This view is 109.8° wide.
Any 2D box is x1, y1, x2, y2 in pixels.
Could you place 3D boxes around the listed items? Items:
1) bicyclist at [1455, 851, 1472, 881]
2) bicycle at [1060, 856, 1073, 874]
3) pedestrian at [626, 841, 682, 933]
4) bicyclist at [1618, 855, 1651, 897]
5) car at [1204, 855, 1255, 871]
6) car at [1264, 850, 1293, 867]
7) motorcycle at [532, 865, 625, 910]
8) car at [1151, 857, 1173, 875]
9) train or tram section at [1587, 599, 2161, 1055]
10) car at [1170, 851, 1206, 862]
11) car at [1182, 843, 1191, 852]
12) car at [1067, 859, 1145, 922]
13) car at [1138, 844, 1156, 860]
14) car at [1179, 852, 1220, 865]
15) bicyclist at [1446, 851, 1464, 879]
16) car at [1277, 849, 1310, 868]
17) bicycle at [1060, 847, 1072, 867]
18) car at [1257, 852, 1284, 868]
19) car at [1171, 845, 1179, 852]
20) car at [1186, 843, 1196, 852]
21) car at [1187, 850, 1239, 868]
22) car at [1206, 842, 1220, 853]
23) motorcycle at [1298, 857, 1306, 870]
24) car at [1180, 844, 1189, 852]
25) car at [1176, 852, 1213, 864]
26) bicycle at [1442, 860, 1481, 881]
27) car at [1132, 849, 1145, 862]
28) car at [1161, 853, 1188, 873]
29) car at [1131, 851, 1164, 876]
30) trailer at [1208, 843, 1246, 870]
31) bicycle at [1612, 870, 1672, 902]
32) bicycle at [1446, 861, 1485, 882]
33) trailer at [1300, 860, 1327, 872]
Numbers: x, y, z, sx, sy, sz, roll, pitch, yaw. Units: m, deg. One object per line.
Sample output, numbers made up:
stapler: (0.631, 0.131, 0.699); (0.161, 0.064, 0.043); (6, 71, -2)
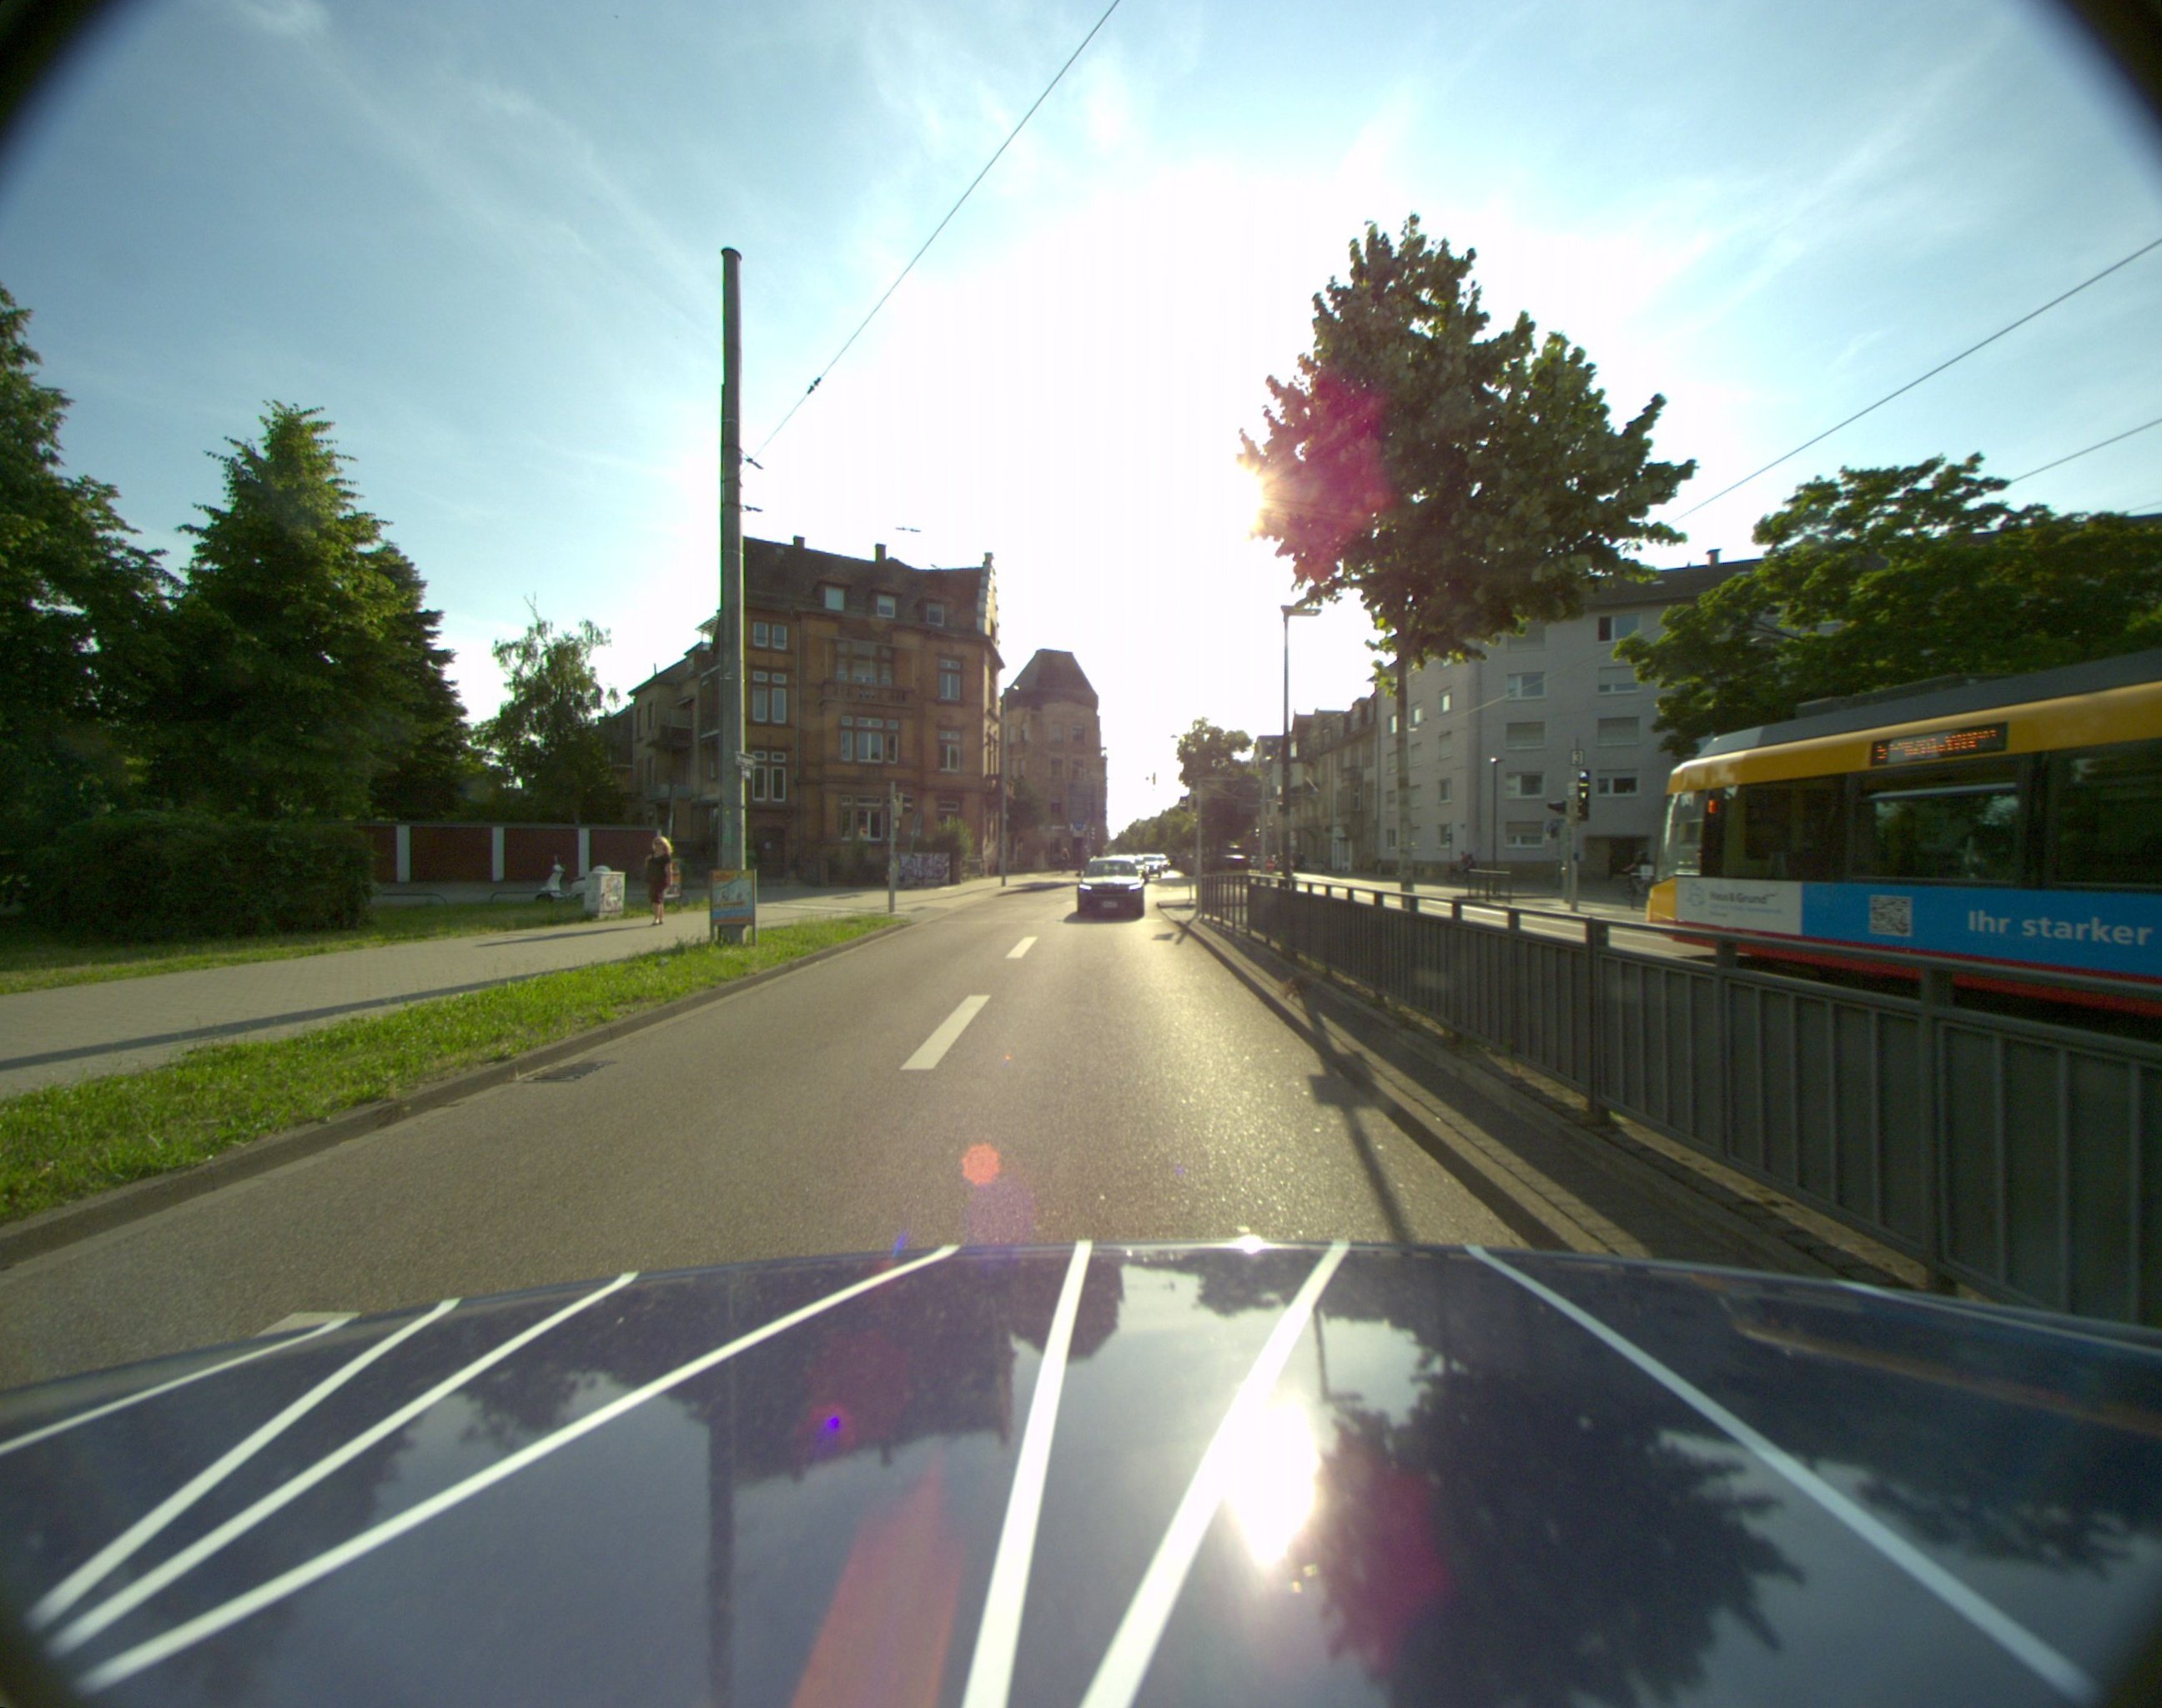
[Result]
bicyclist: (21.635, 0.672, 42.956); (0.771, 1.633, 0.796); (1, 1, 23)
bicycle: (-0.990, 0.711, 51.446); (0.485, 1.183, 1.337); (-1, 0, -16)
pedestrian: (-8.206, 0.624, 14.617); (0.616, 1.682, 0.549); (5, 1, 6)
bicyclist: (19.106, 0.745, 26.239); (0.652, 1.405, 0.717); (-1, 0, 5)
car: (12.588, 0.747, 64.415); (3.941, 1.352, 1.676); (1, 1, 37)
car: (20.731, 0.454, 79.776); (2.170, 1.739, 4.612); (-1, 0, 4)
motorcycle: (-13.603, 0.900, 20.596); (2.002, 1.153, 0.708); (-1, 0, -4)
car: (8.503, 1.246, 80.285); (1.998, 1.772, 4.000); (0, 0, 1)
train or tram section: (9.782, -0.223, 5.148); (3.169, 3.459, 14.532); (-1, 0, 1)
car: (14.042, 0.355, 99.911); (4.259, 1.414, 2.177); (-1, 0, 43)
car: (25.301, -1.481, 181.916); (1.998, 2.002, 4.002); (-1, 0, 5)
car: (0.730, 0.884, 20.076); (1.839, 1.472, 4.001); (0, 0, 4)
car: (8.400, -0.298, 97.137); (1.998, 2.002, 4.000); (0, 0, 2)
car: (13.341, 0.481, 85.677); (4.294, 1.414, 1.963); (-1, 0, 43)
bicyclist: (21.736, 0.629, 44.149); (0.851, 1.633, 0.815); (-1, 0, 22)
car: (20.441, 0.452, 73.339); (2.170, 1.739, 4.719); (-1, 0, 4)
bicycle: (-1.013, 0.197, 51.479); (0.575, 1.290, 0.687); (-1, 0, -18)
car: (21.074, 0.679, 84.824); (2.170, 1.739, 4.612); (-1, 0, 4)
car: (26.756, -1.630, 216.114); (1.998, 2.002, 4.000); (-1, 0, 1)
car: (24.723, -1.429, 170.707); (1.998, 2.002, 4.002); (-1, 0, 5)
car: (13.102, 0.461, 75.691); (4.704, 1.680, 2.177); (0, 0, 44)
car: (24.213, -1.117, 139.663); (1.998, 2.002, 4.001); (-1, 0, 2)
motorcycle: (20.113, 0.859, 69.138); (0.636, 1.074, 1.735); (-1, 0, 13)
car: (26.459, -1.447, 194.380); (1.998, 2.002, 4.000); (-1, 0, 1)
car: (13.873, 0.458, 92.640); (4.259, 1.414, 1.685); (-1, 0, 43)
bicycle: (22.065, 0.960, 44.064); (1.976, 1.196, 0.736); (-1, 0, 23)
car: (9.177, 0.179, 121.769); (1.998, 2.002, 4.000); (0, 1, 2)
car: (7.411, 0.690, 60.207); (1.997, 1.565, 4.002); (-1, 0, 7)
car: (4.417, 0.582, 49.965); (1.997, 1.565, 4.002); (-1, 0, 7)
trailer: (12.988, 0.238, 67.716); (2.858, 2.378, 1.726); (-1, 0, 34)
bicycle: (19.158, 1.077, 26.005); (0.543, 1.012, 2.251); (-1, 0, 5)
bicycle: (21.739, 0.973, 42.969); (1.912, 1.104, 0.736); (1, 1, 23)
trailer: (20.358, 1.059, 66.582); (1.444, 0.891, 2.880); (-4, 0, 2)
